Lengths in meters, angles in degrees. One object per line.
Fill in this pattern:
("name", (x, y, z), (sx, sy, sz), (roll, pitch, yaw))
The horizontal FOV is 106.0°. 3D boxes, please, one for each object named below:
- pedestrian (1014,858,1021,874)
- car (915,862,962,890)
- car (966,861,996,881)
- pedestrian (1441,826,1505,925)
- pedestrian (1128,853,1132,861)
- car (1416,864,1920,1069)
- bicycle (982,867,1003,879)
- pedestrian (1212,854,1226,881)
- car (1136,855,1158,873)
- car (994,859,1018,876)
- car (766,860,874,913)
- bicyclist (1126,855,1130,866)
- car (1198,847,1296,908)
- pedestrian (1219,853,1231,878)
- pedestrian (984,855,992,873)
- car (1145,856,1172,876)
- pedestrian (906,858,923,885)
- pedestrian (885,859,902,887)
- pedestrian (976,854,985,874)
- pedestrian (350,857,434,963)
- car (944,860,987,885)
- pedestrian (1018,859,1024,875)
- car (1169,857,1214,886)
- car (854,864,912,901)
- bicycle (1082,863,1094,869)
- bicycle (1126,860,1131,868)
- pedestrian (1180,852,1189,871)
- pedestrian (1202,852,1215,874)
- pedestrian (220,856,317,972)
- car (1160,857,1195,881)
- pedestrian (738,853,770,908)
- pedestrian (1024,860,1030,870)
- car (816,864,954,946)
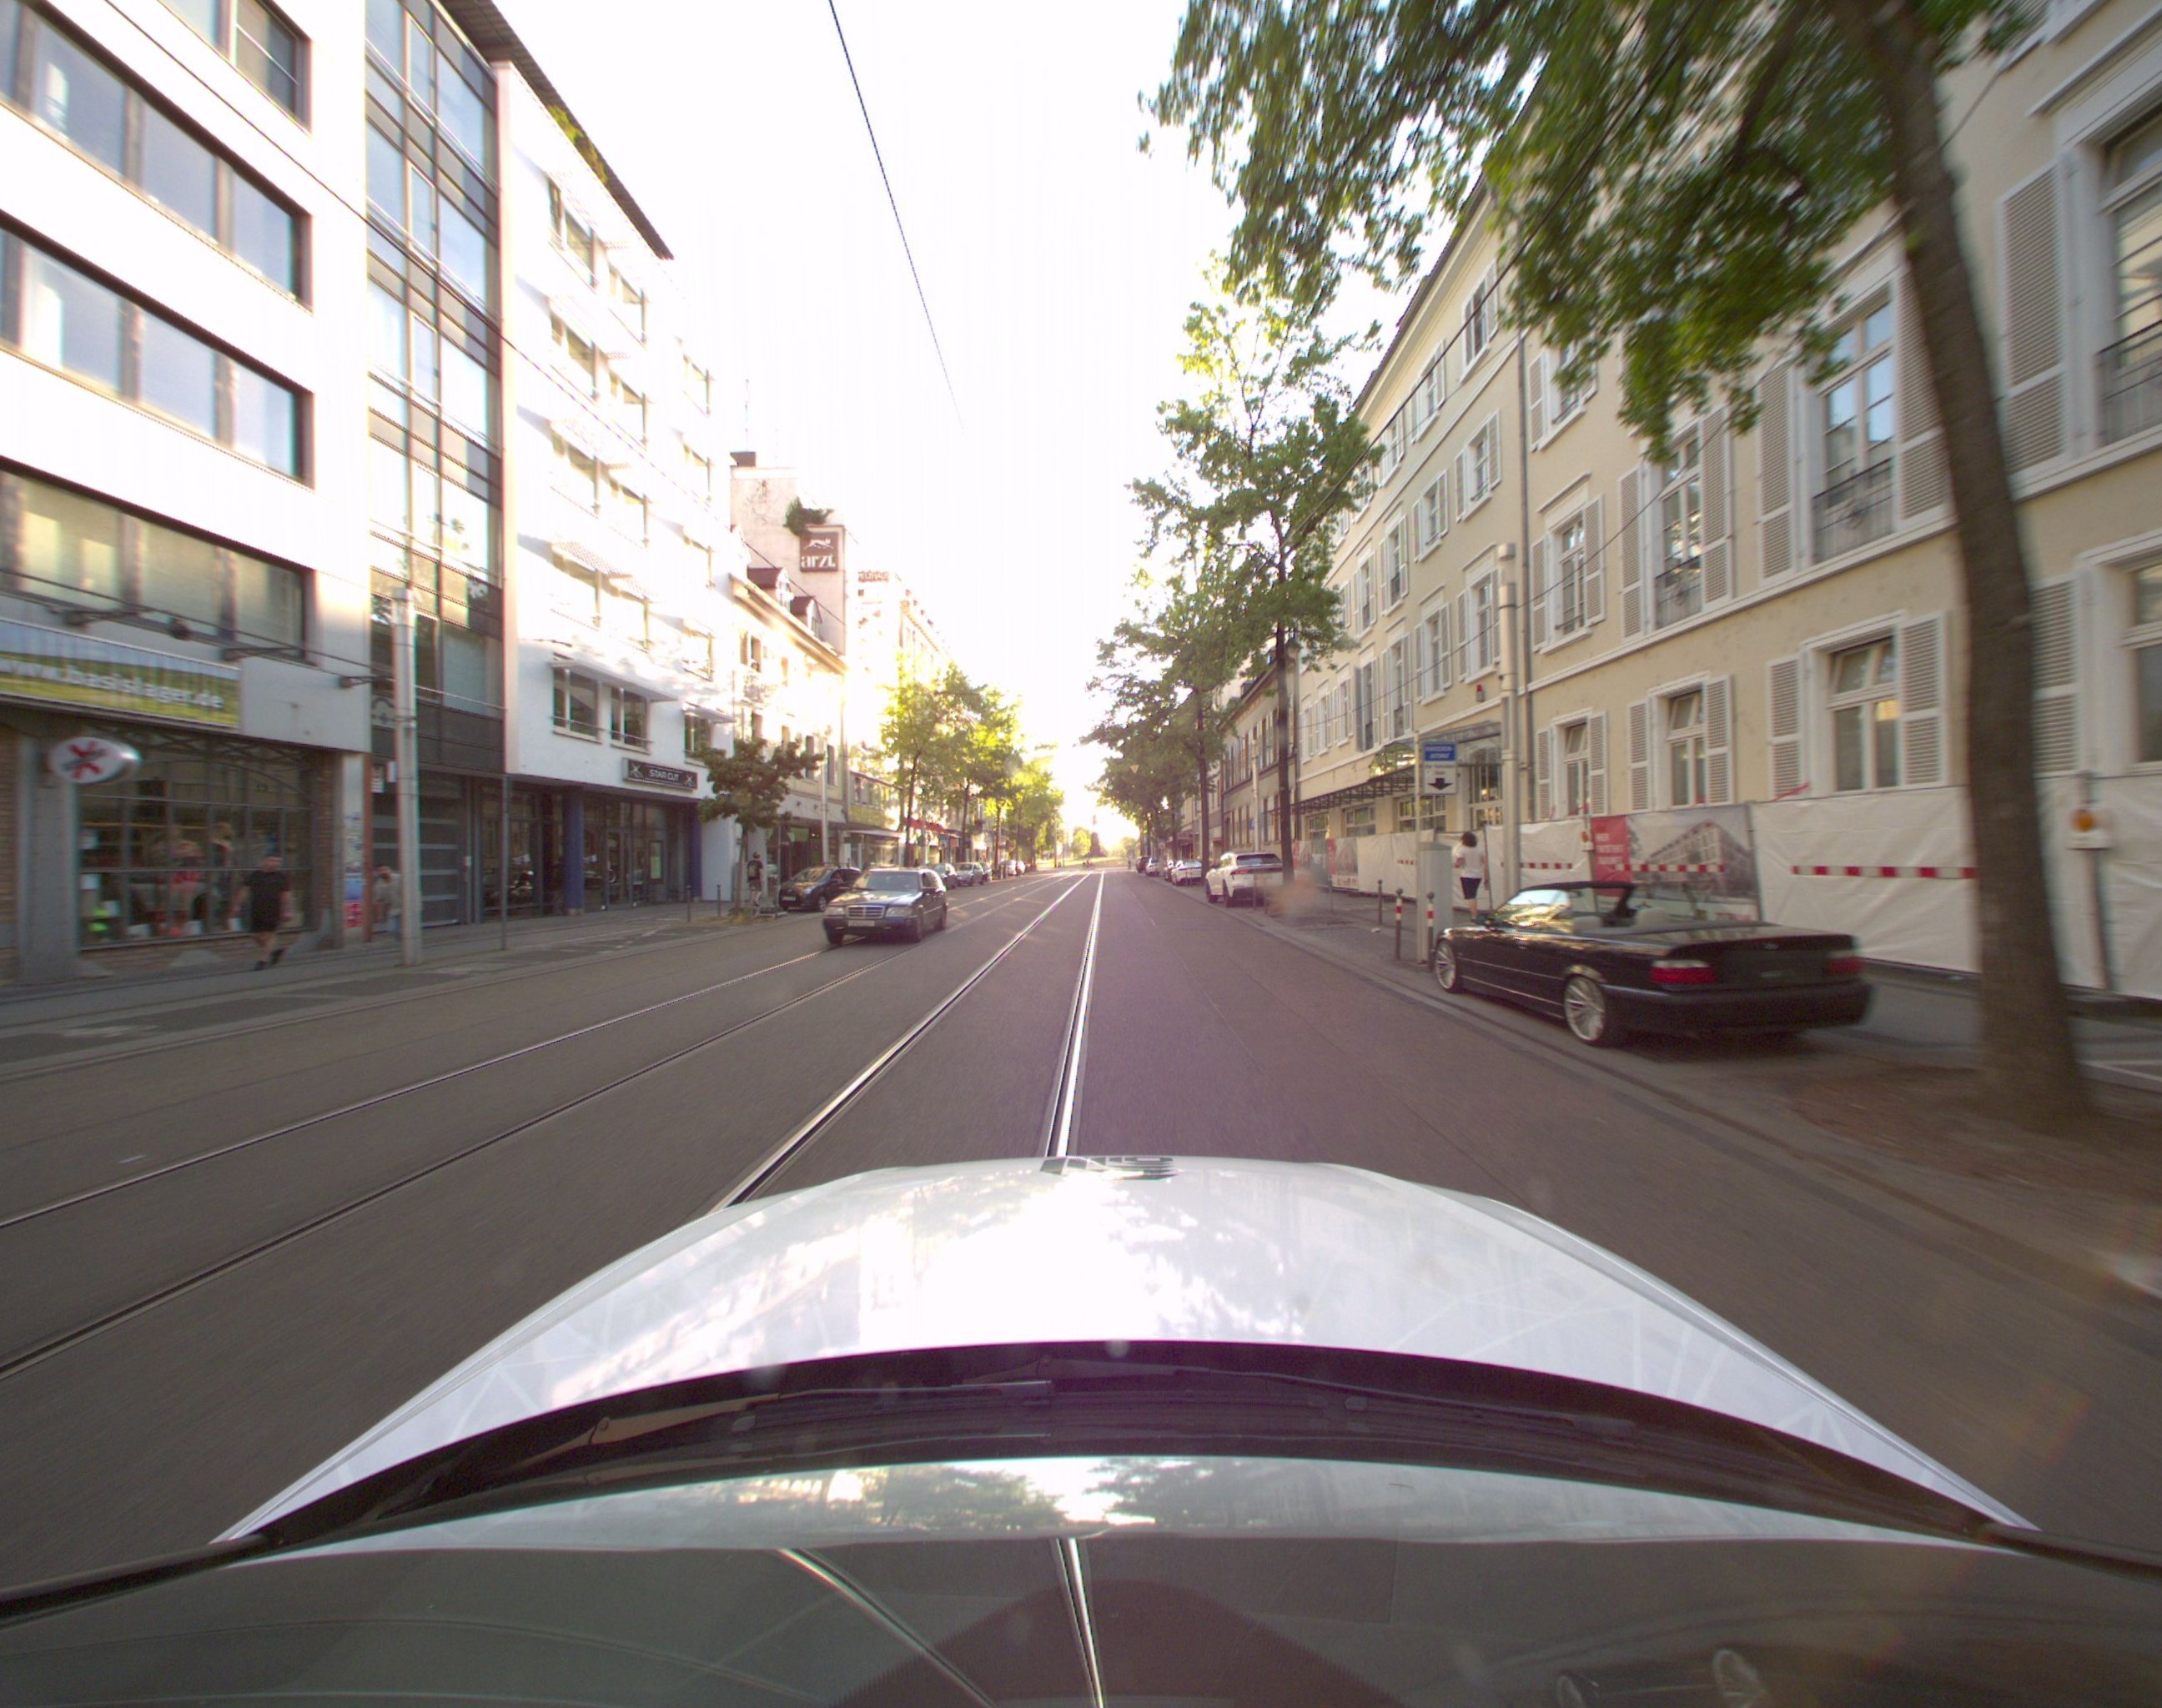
("pedestrian", (-6.213, 1.137, 79.413), (0.617, 1.509, 0.730), (-1, -1, 2))
("car", (-7.955, 1.184, 45.879), (1.705, 1.461, 4.488), (1, 0, 2))
("car", (-7.683, 1.316, 62.892), (1.660, 1.428, 3.828), (2, 0, 1))
("pedestrian", (7.840, 0.421, 16.331), (0.710, 1.886, 1.053), (-2, -1, 2))
("pedestrian", (9.094, 0.560, 151.548), (0.634, 1.606, 0.771), (-1, 0, -1))
("car", (4.975, 0.814, 7.842), (1.787, 1.311, 4.331), (-3, -1, 2))
("bicycle", (-7.298, 1.582, 66.957), (1.607, 0.965, 0.433), (1, 0, 6))
("pedestrian", (8.118, 0.802, 47.875), (0.646, 1.573, 0.799), (-1, -1, 1))
("car", (7.106, 1.032, 88.120), (1.931, 1.759, 4.681), (-5, 0, 1))
("car", (-7.578, 1.374, 82.398), (1.829, 1.580, 4.118), (3, 0, 2))
("car", (-8.698, 1.021, 27.495), (1.618, 1.616, 3.724), (1, 0, 16))
("bicyclist", (6.659, 0.928, 114.303), (0.425, 1.481, 0.468), (-1, 0, 19))
("car", (5.271, 0.727, 26.611), (1.992, 1.688, 4.964), (-3, -1, -1))
("pedestrian", (9.619, 0.777, 54.478), (0.655, 1.665, 0.888), (-1, -1, 1))
("pedestrian", (-9.649, 1.030, 84.490), (0.719, 1.760, 1.090), (-1, -1, 2))
("car", (6.661, 1.025, 70.563), (1.986, 1.498, 4.682), (-4, 0, 2))
("pedestrian", (-10.333, 1.077, 50.473), (0.841, 1.693, 0.740), (-1, -1, 0))
("pedestrian", (-11.554, 1.154, 50.213), (0.786, 1.693, 0.914), (-1, -1, 1))
("pedestrian", (-10.427, 1.046, 84.511), (0.719, 2.014, 0.643), (-1, -1, 1))
("pedestrian", (-11.508, 0.904, 13.624), (0.638, 1.713, 0.830), (0, 0, 5))
("car", (-7.331, 1.176, 52.081), (1.758, 1.497, 4.182), (-1, -1, 6))
("pedestrian", (-5.942, 1.261, 80.318), (0.519, 1.569, 0.634), (-1, -2, 2))
("car", (5.993, 0.910, 44.815), (1.905, 1.420, 4.890), (-3, 0, 2))
("car", (-8.591, 1.197, 35.623), (1.788, 1.490, 4.235), (1, -1, -4))
("bicycle", (1.071, 1.709, 118.941), (1.720, 0.864, 0.368), (-1, -1, 10))
("bicycle", (6.666, 1.401, 114.274), (0.262, 0.982, 1.345), (-1, 0, 19))
("pedestrian", (9.290, 0.709, 73.244), (0.641, 1.670, 0.786), (-4, -1, 1))
("pedestrian", (10.019, 0.719, 64.152), (0.855, 1.753, 0.933), (-1, -1, 1))
("pedestrian", (-12.388, 0.889, 12.442), (0.624, 1.713, 0.809), (0, 0, 5))
("car", (6.368, 0.979, 54.235), (1.826, 1.478, 4.762), (-3, 0, 1))
("pedestrian", (-10.963, 0.876, 27.332), (0.657, 1.825, 0.879), (2, 0, 2))
("pedestrian", (-6.960, 1.444, 105.632), (0.726, 1.290, 0.856), (-1, -1, -1))
("car", (-3.860, 0.941, 16.822), (1.774, 1.407, 4.526), (-1, 0, -1))
